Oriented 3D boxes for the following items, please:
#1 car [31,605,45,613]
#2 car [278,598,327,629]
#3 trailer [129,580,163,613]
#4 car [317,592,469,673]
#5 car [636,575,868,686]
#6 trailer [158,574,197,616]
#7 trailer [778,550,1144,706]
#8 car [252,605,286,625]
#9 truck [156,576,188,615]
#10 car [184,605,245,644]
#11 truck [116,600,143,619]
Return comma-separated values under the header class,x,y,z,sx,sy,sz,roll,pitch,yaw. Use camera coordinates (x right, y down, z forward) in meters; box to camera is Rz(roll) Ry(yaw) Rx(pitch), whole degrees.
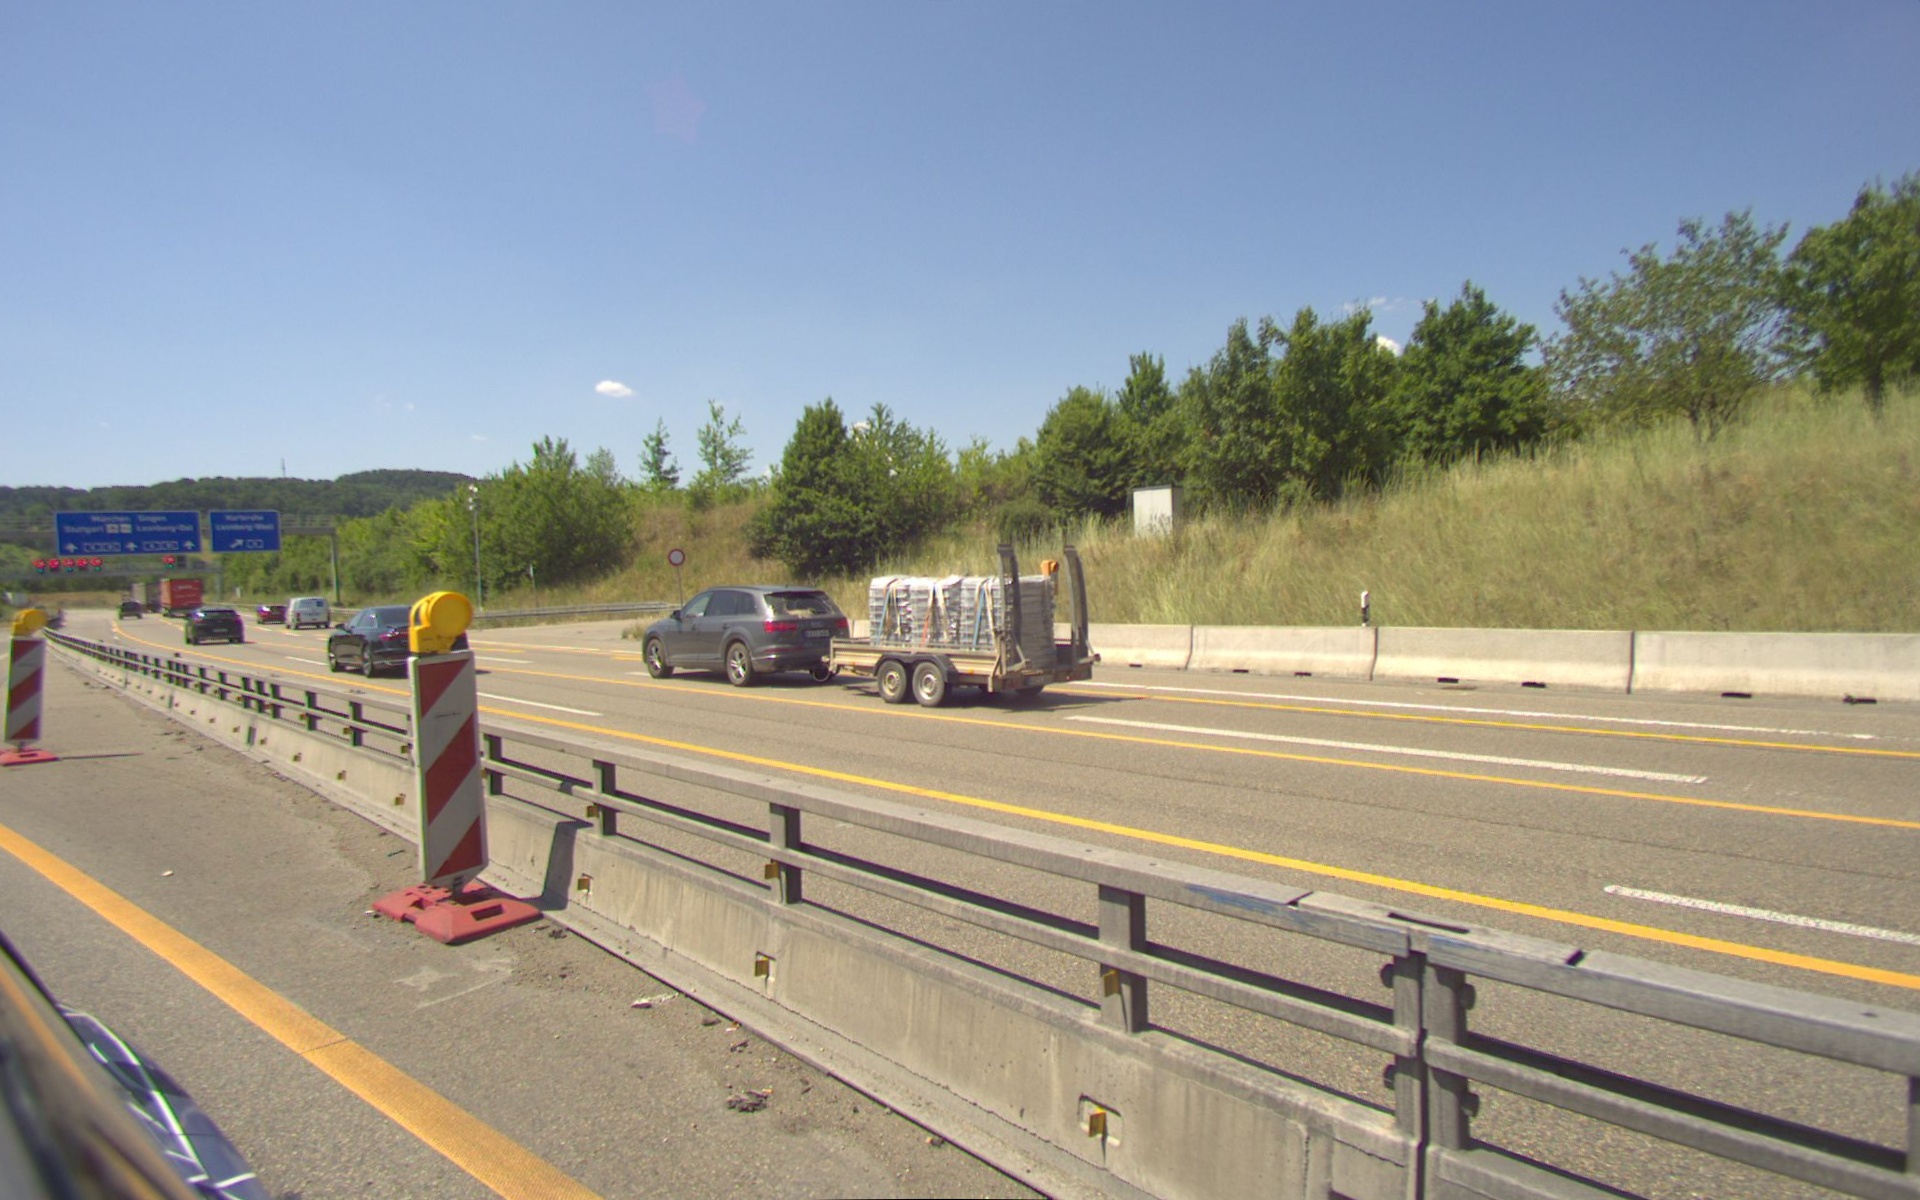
class,x,y,z,sx,sy,sz,roll,pitch,yaw
car,-168.116,1.649,184.495,3.690,1.502,1.697,-1,2,45
car,-40.565,0.781,62.416,1.668,1.848,4.791,0,0,-44
trailer,-111.352,-0.454,138.375,2.407,4.328,13.822,-4,2,-43
car,-12.723,0.689,22.548,1.753,1.605,4.989,-1,-1,-44
car,-3.879,0.526,18.245,1.753,1.740,4.871,-1,-1,-44
trailer,-82.035,-0.507,105.997,2.309,4.132,13.280,-3,2,-41
trailer,-0.223,0.373,14.460,1.924,1.819,5.527,-1,-1,-44
car,-51.815,1.131,75.822,1.666,1.405,4.006,0,0,-41
truck,-86.336,-0.505,110.903,2.306,4.138,5.024,-3,2,-41
car,-32.787,1.042,44.480,1.722,1.605,4.232,-1,0,-42
truck,-86.798,1.018,105.793,1.969,1.887,4.768,-3,1,-41
